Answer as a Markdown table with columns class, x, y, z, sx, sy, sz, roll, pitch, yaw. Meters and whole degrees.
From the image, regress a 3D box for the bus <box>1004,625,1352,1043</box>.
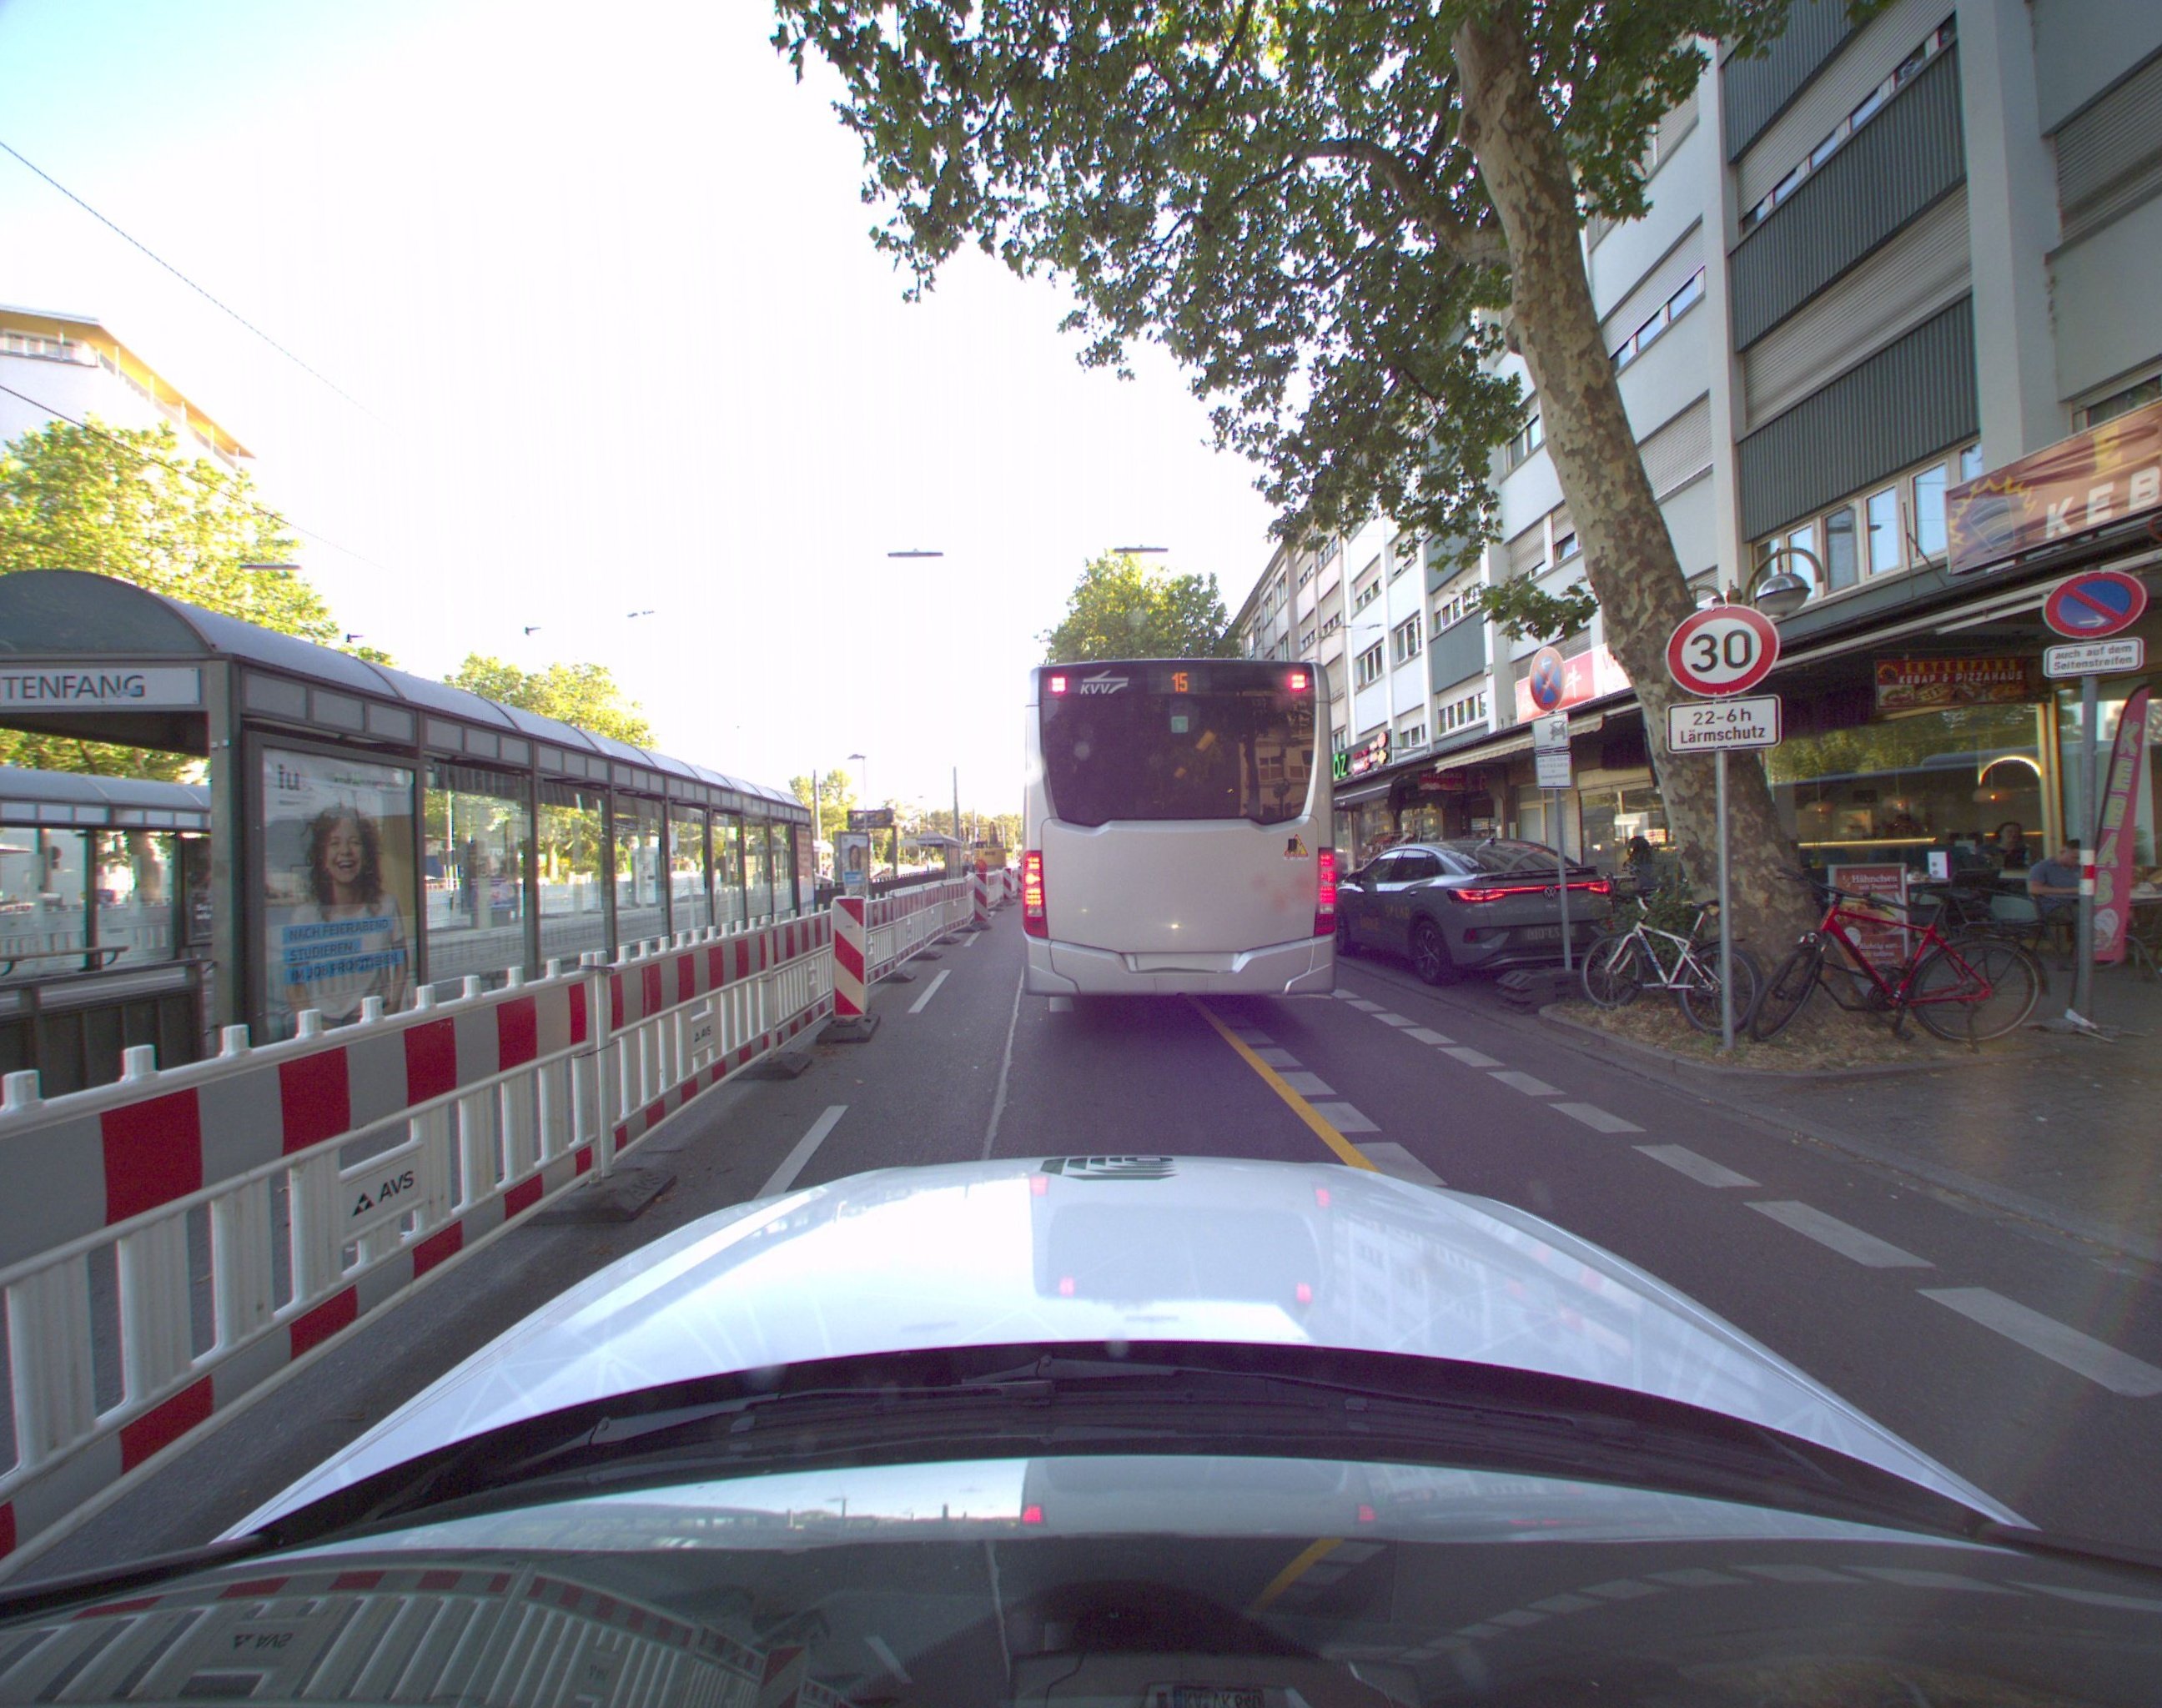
| class | x | y | z | sx | sy | sz | roll | pitch | yaw |
| --- | --- | --- | --- | --- | --- | --- | --- | --- | --- |
| bus | 0.961 | -0.145 | 11.415 | 2.598 | 3.170 | 10.297 | -1 | 0 | 2 |

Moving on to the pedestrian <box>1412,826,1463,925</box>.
| class | x | y | z | sx | sy | sz | roll | pitch | yaw |
| --- | --- | --- | --- | --- | --- | --- | --- | --- | --- |
| pedestrian | 7.488 | 0.437 | 17.137 | 0.689 | 2.014 | 0.695 | -2 | -1 | -3 |

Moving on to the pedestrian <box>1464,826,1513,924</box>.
| class | x | y | z | sx | sy | sz | roll | pitch | yaw |
| --- | --- | --- | --- | --- | --- | --- | --- | --- | --- |
| pedestrian | 8.593 | 0.444 | 17.208 | 0.611 | 2.014 | 0.696 | -2 | -1 | -1 |

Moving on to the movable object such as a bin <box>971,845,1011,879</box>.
| class | x | y | z | sx | sy | sz | roll | pitch | yaw |
| --- | --- | --- | --- | --- | --- | --- | --- | --- | --- |
| movable object such as a bin | -7.039 | 0.610 | 64.006 | 2.800 | 2.462 | 3.995 | -2 | 0 | -3 |

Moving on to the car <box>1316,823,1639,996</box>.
| class | x | y | z | sx | sy | sz | roll | pitch | yaw |
| --- | --- | --- | --- | --- | --- | --- | --- | --- | --- |
| car | 4.605 | 0.566 | 10.311 | 1.736 | 1.597 | 4.294 | -4 | 0 | -3 |

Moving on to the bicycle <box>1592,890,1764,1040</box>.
| class | x | y | z | sx | sy | sz | roll | pitch | yaw |
| --- | --- | --- | --- | --- | --- | --- | --- | --- | --- |
| bicycle | 4.482 | 0.791 | 6.186 | 0.294 | 0.927 | 1.127 | -6 | 2 | -8 |

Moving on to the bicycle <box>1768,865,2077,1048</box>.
| class | x | y | z | sx | sy | sz | roll | pitch | yaw |
| --- | --- | --- | --- | --- | --- | --- | --- | --- | --- |
| bicycle | 5.495 | 0.679 | 5.367 | 1.450 | 1.066 | 0.297 | -6 | 2 | 13 |

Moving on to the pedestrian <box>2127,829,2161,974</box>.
| class | x | y | z | sx | sy | sz | roll | pitch | yaw |
| --- | --- | --- | --- | --- | --- | --- | --- | --- | --- |
| pedestrian | 9.562 | 0.392 | 6.808 | 0.612 | 1.243 | 0.714 | -5 | -1 | 11 |

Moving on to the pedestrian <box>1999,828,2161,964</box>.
| class | x | y | z | sx | sy | sz | roll | pitch | yaw |
| --- | --- | --- | --- | --- | --- | --- | --- | --- | --- |
| pedestrian | 9.625 | 0.388 | 7.844 | 0.673 | 1.203 | 0.706 | -5 | -1 | 11 |
